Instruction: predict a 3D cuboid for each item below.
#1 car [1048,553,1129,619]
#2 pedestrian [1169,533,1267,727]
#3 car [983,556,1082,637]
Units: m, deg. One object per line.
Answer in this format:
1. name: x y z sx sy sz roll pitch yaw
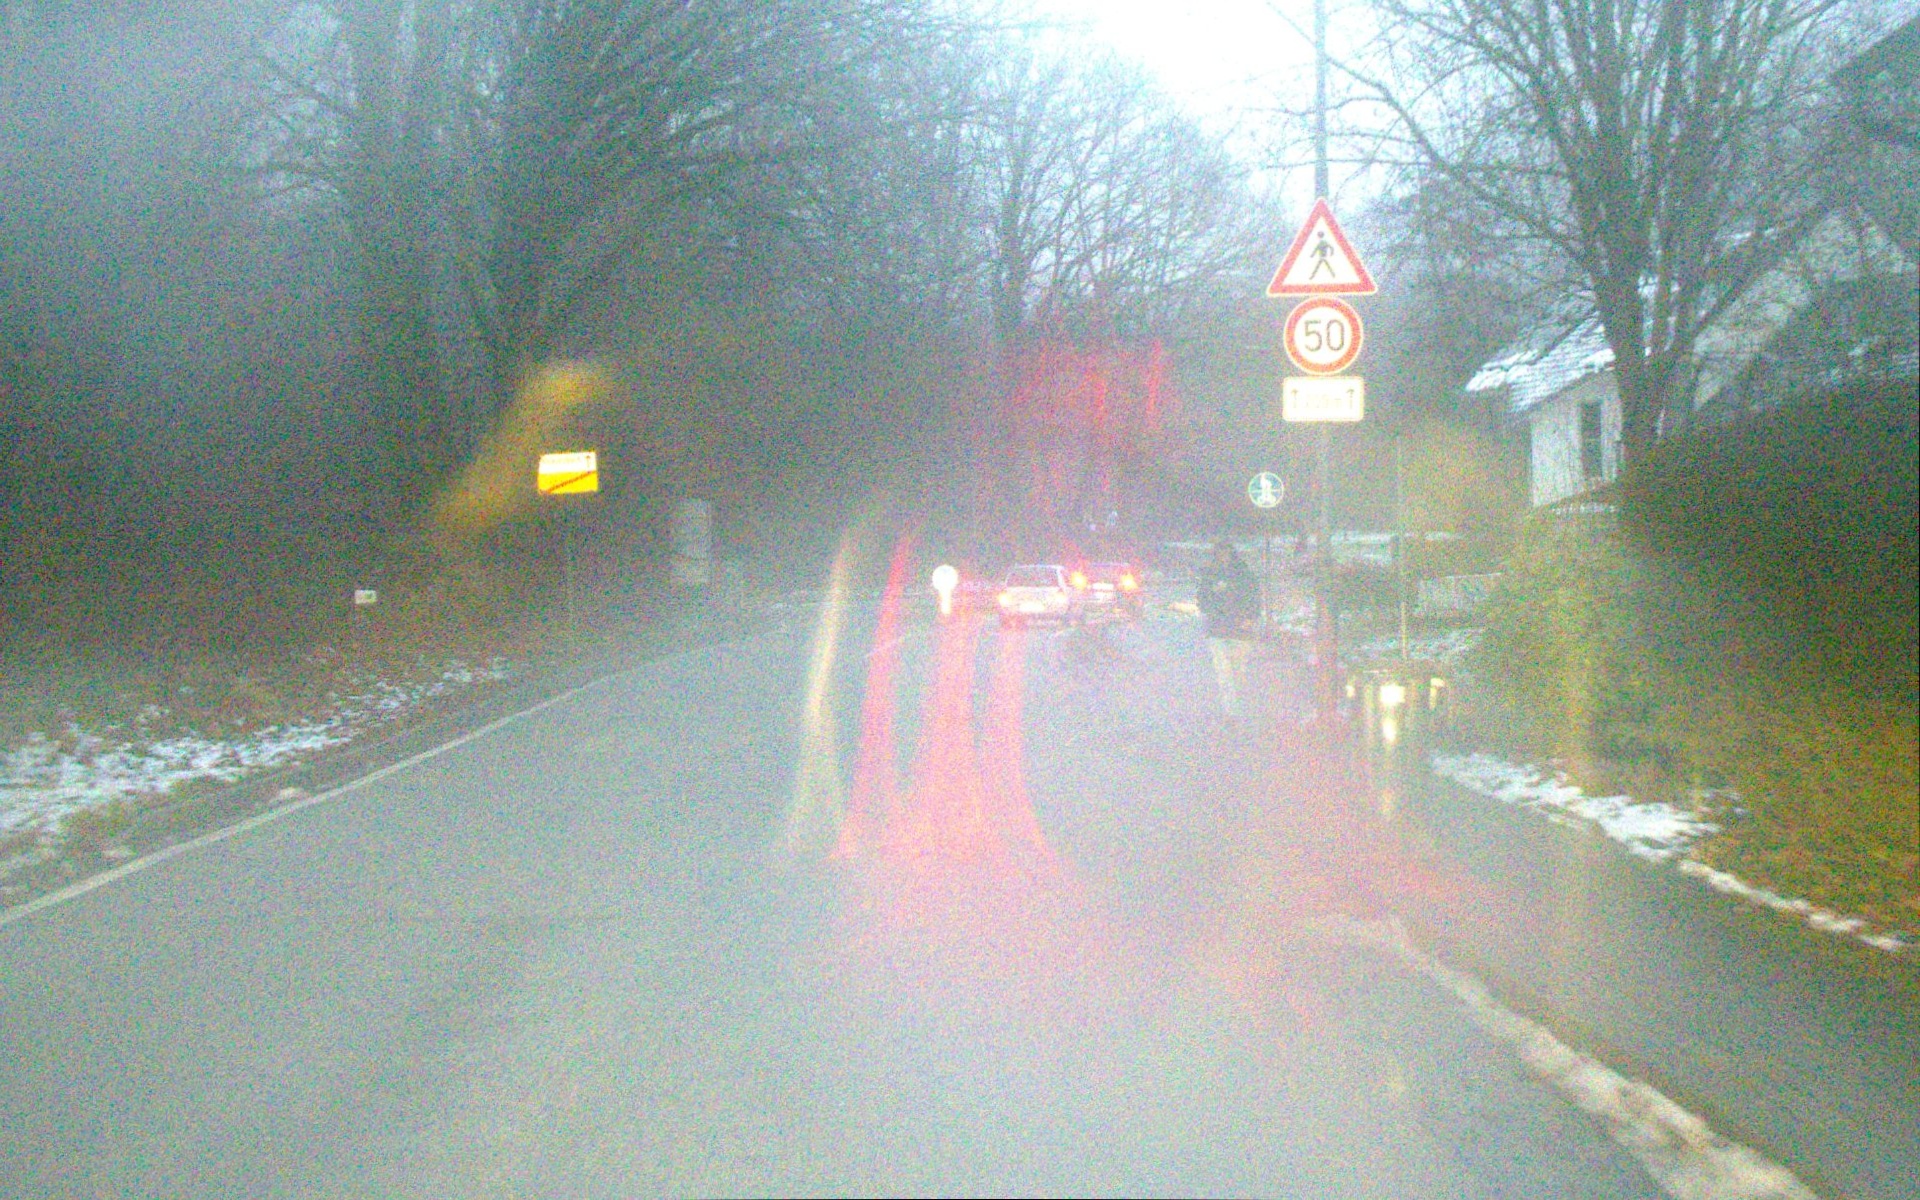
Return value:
1. car: 3.366 -0.388 90.805 1.933 1.670 4.000 -1 1 0
2. pedestrian: 2.236 0.248 29.870 0.743 1.649 0.970 -1 1 -1
3. car: 1.675 -0.098 78.471 1.933 1.775 3.999 0 1 6
